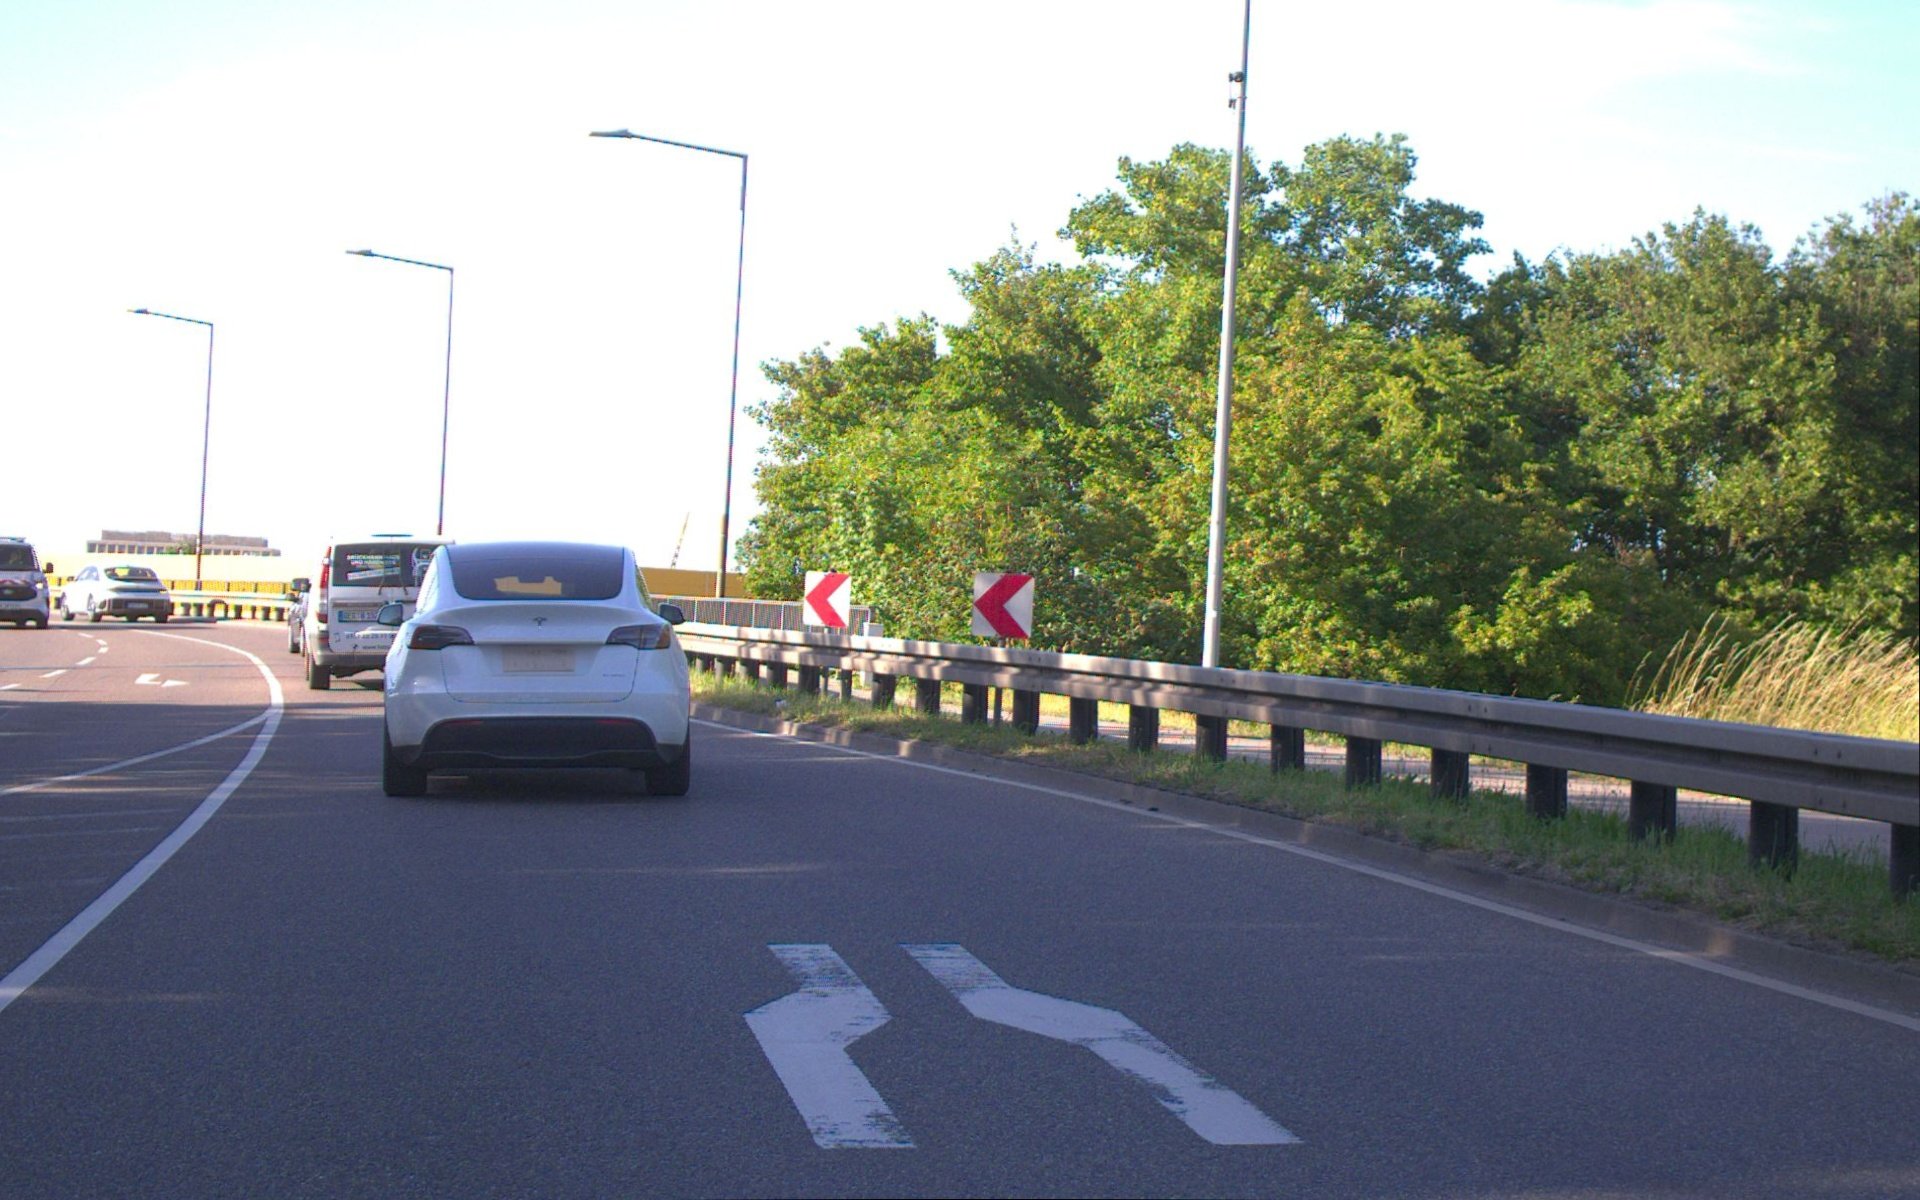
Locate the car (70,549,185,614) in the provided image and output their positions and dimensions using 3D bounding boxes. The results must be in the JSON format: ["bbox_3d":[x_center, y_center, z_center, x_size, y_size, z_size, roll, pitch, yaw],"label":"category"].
[{"bbox_3d":[-20.754,-0.474,85.644,1.993,1.534,4.001,1,1,-25],"label":"car"}]

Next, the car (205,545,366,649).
[{"bbox_3d":[-11.045,-0.078,56.121,1.968,1.632,4.001,0,1,-20],"label":"car"}]

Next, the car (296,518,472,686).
[{"bbox_3d":[-7.122,0.003,42.384,2.004,1.934,4.468,1,1,-10],"label":"car"}]

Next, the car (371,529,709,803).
[{"bbox_3d":[-2.863,0.366,22.698,1.985,1.632,4.064,0,1,-10],"label":"car"}]

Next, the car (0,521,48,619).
[{"bbox_3d":[-21.456,-0.690,76.625,1.948,2.105,5.272,1,1,-17],"label":"car"}]
